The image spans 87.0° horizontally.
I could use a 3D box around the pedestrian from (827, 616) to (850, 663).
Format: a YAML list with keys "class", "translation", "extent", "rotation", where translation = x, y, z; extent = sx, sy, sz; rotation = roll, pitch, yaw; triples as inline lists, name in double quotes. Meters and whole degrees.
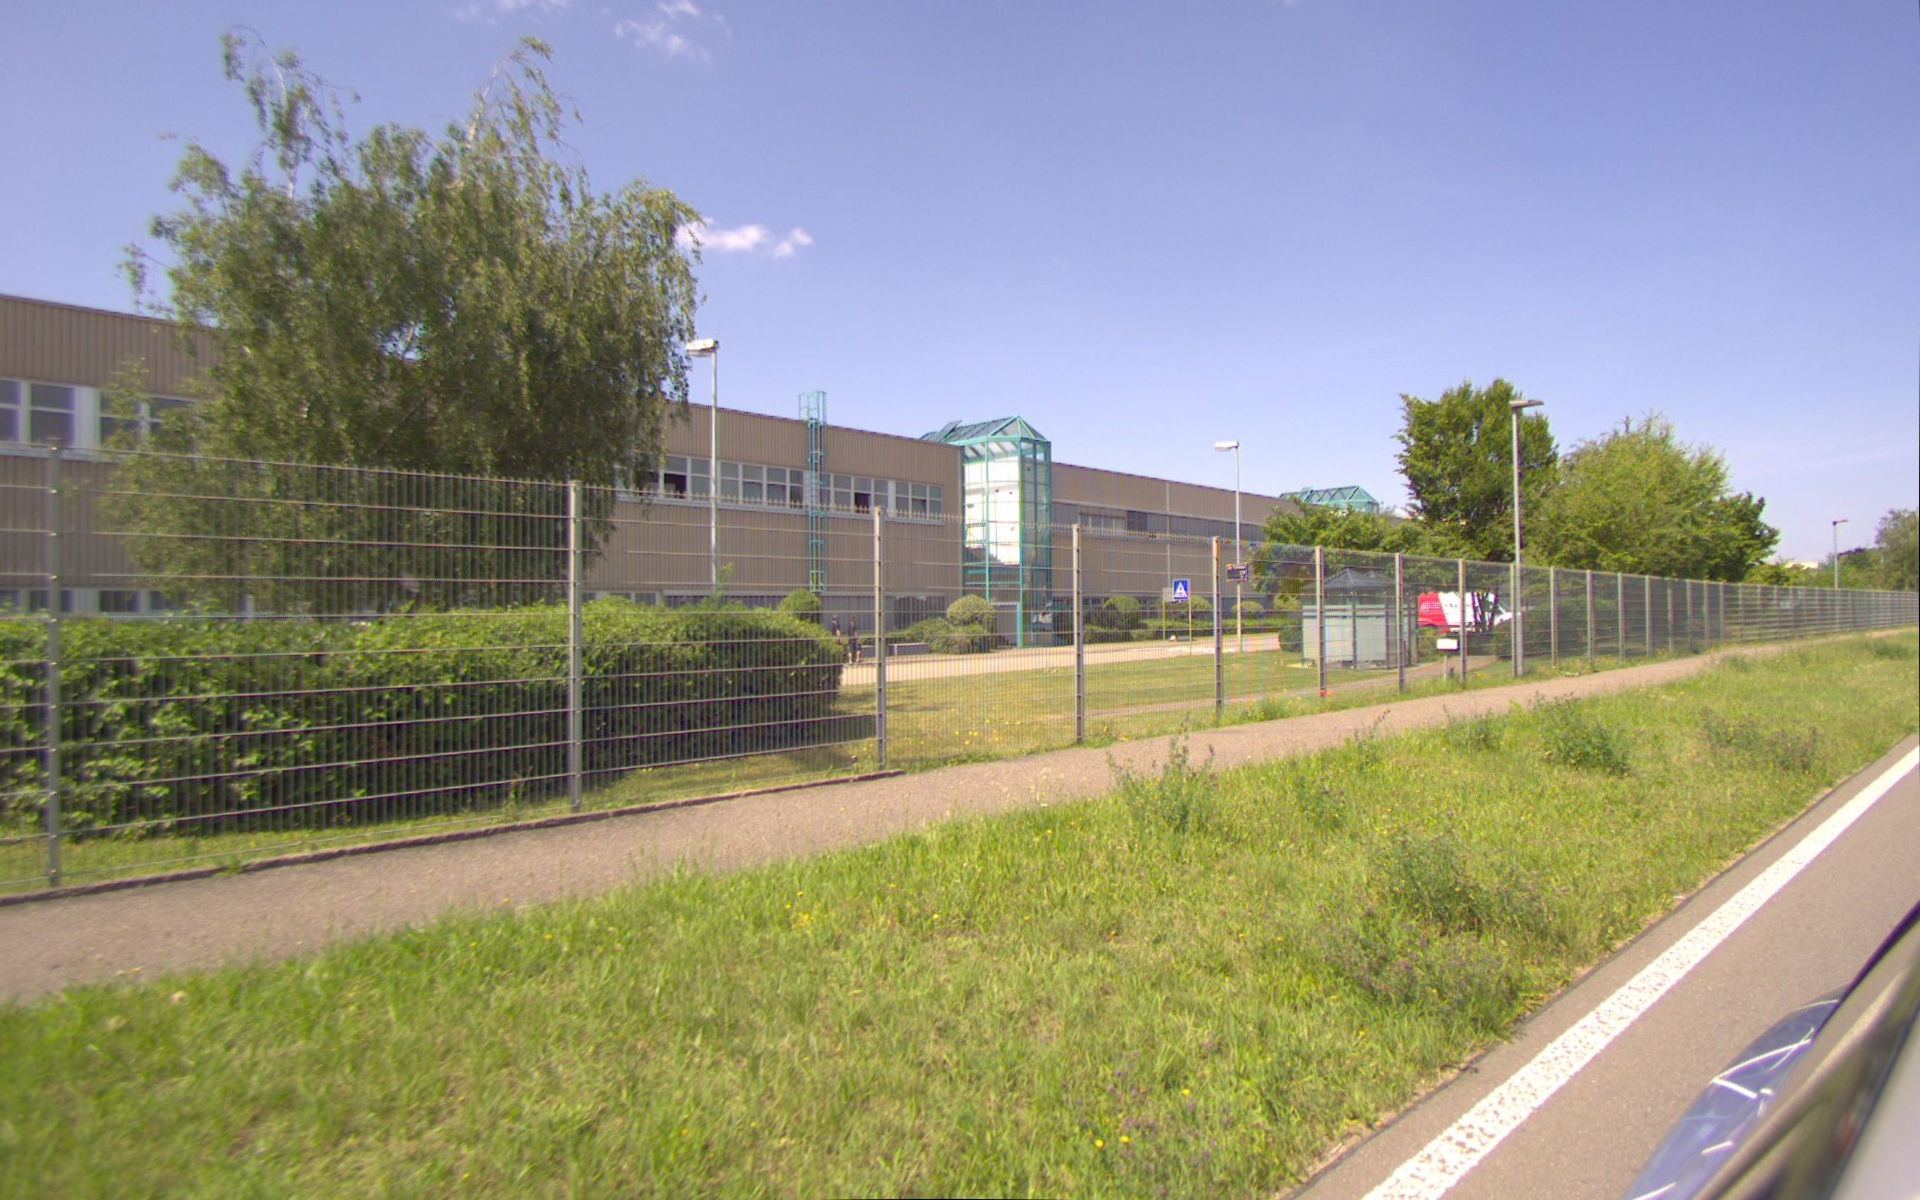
- class: "pedestrian"
  translation: [-4.538, 1.476, 37.827]
  extent: [0.652, 1.738, 0.487]
  rotation: [0, -2, -41]

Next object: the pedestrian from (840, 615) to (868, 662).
- class: "pedestrian"
  translation: [-3.916, 1.408, 37.362]
  extent: [0.822, 1.691, 0.548]
  rotation: [0, -2, -42]

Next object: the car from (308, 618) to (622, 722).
- class: "car"
  translation: [-10.169, 1.339, 21.242]
  extent: [2.107, 1.802, 5.571]
  rotation: [-2, -1, 41]

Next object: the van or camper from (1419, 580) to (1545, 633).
- class: "van or camper"
  translation: [28.960, 0.388, 56.307]
  extent: [5.767, 2.551, 1.969]
  rotation: [-6, -4, 43]
